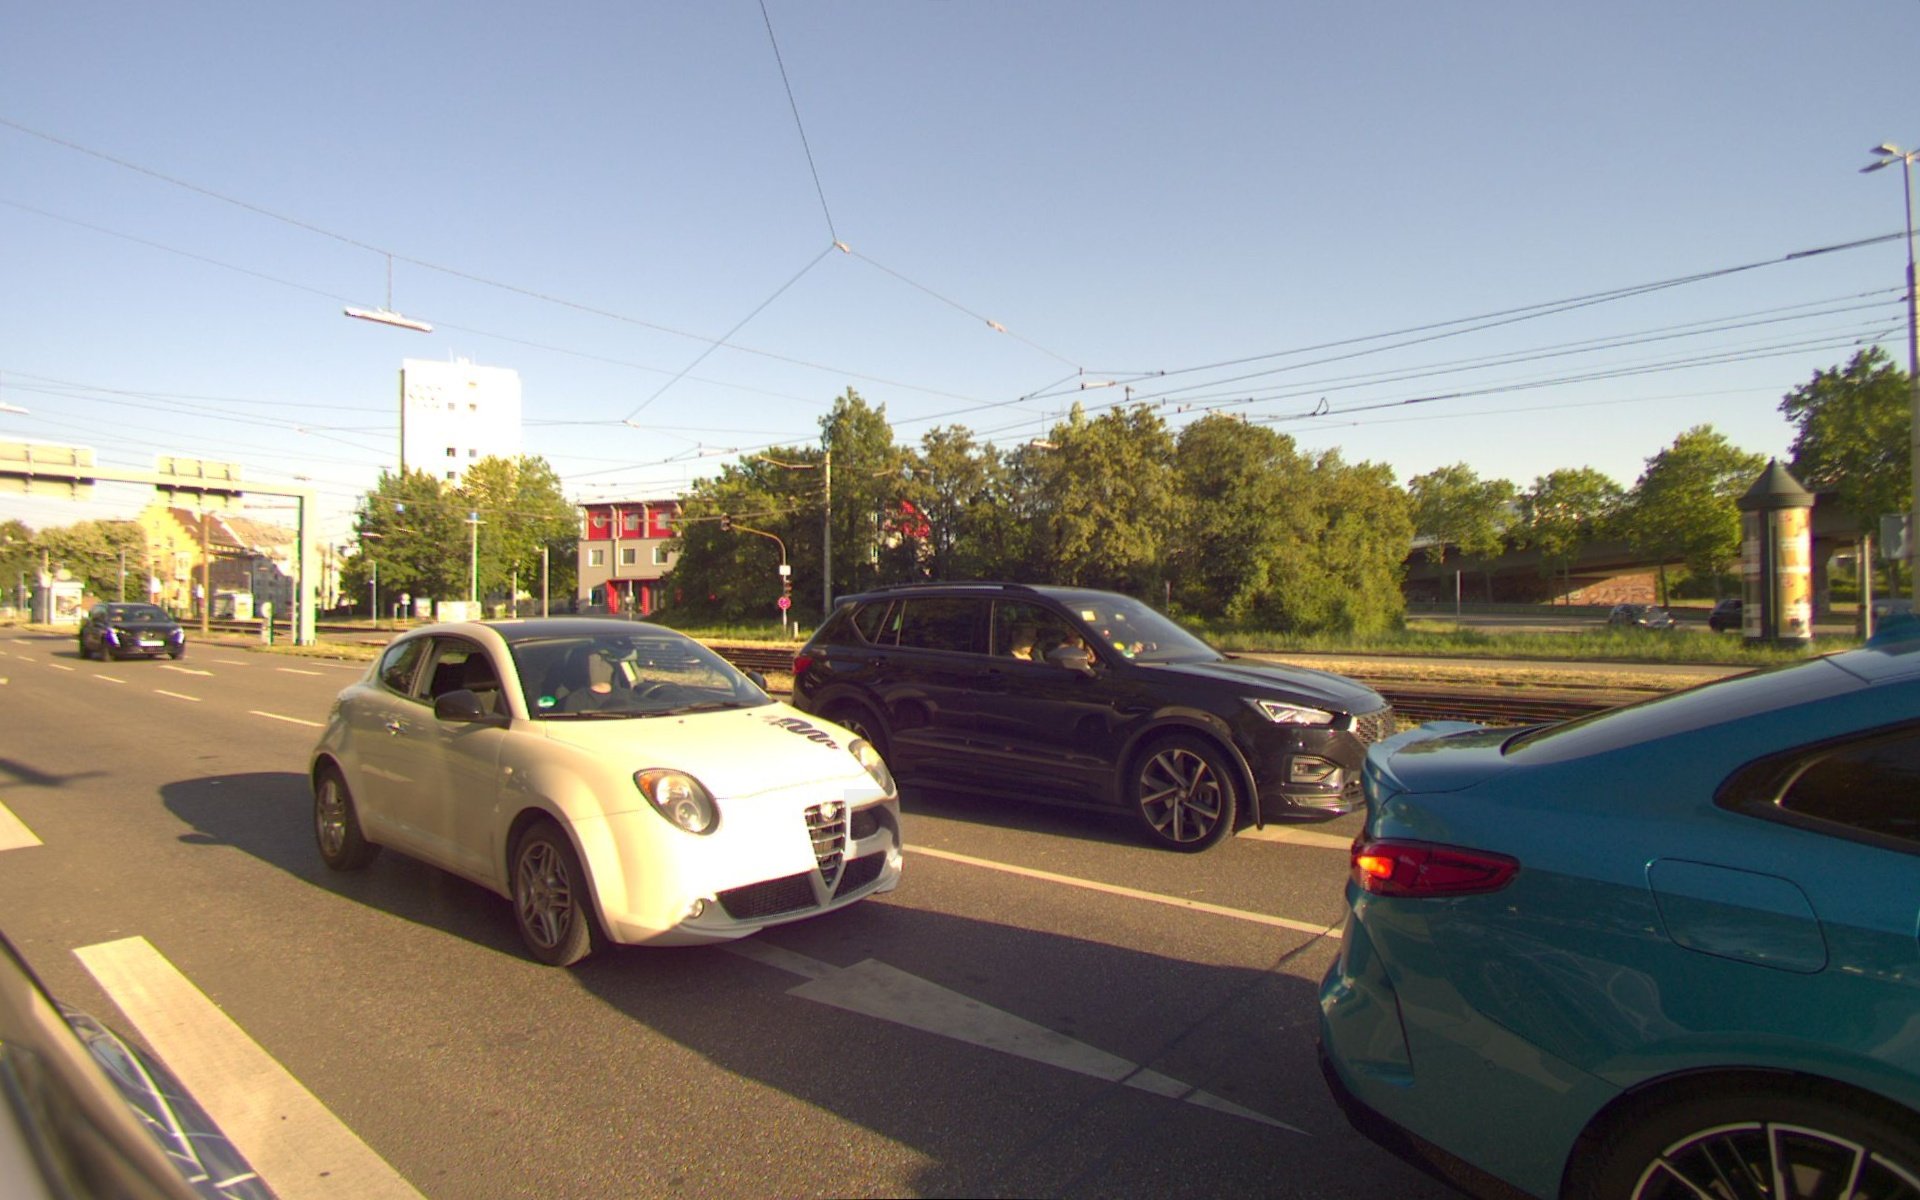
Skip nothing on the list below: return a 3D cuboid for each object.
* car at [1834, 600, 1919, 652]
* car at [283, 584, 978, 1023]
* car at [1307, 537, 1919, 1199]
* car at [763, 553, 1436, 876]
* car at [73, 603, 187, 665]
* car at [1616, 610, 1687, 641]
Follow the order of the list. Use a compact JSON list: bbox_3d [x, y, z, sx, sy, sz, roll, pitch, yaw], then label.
[{"bbox_3d":[32.315,0.849,34.480,1.674,1.691,4.402,-1,-1,9],"label":"car"},{"bbox_3d":[-1.989,0.758,5.468,3.997,1.517,1.719,-1,-2,40],"label":"car"},{"bbox_3d":[2.887,0.636,1.456,4.201,1.477,1.697,-1,-2,38],"label":"car"},{"bbox_3d":[0.793,0.633,7.430,4.616,1.692,1.797,-1,-1,37],"label":"car"},{"bbox_3d":[-24.228,0.980,29.489,4.274,1.675,1.881,-2,-2,41],"label":"car"},{"bbox_3d":[36.411,1.315,53.419,1.706,1.537,3.919,-1,-1,12],"label":"car"}]
